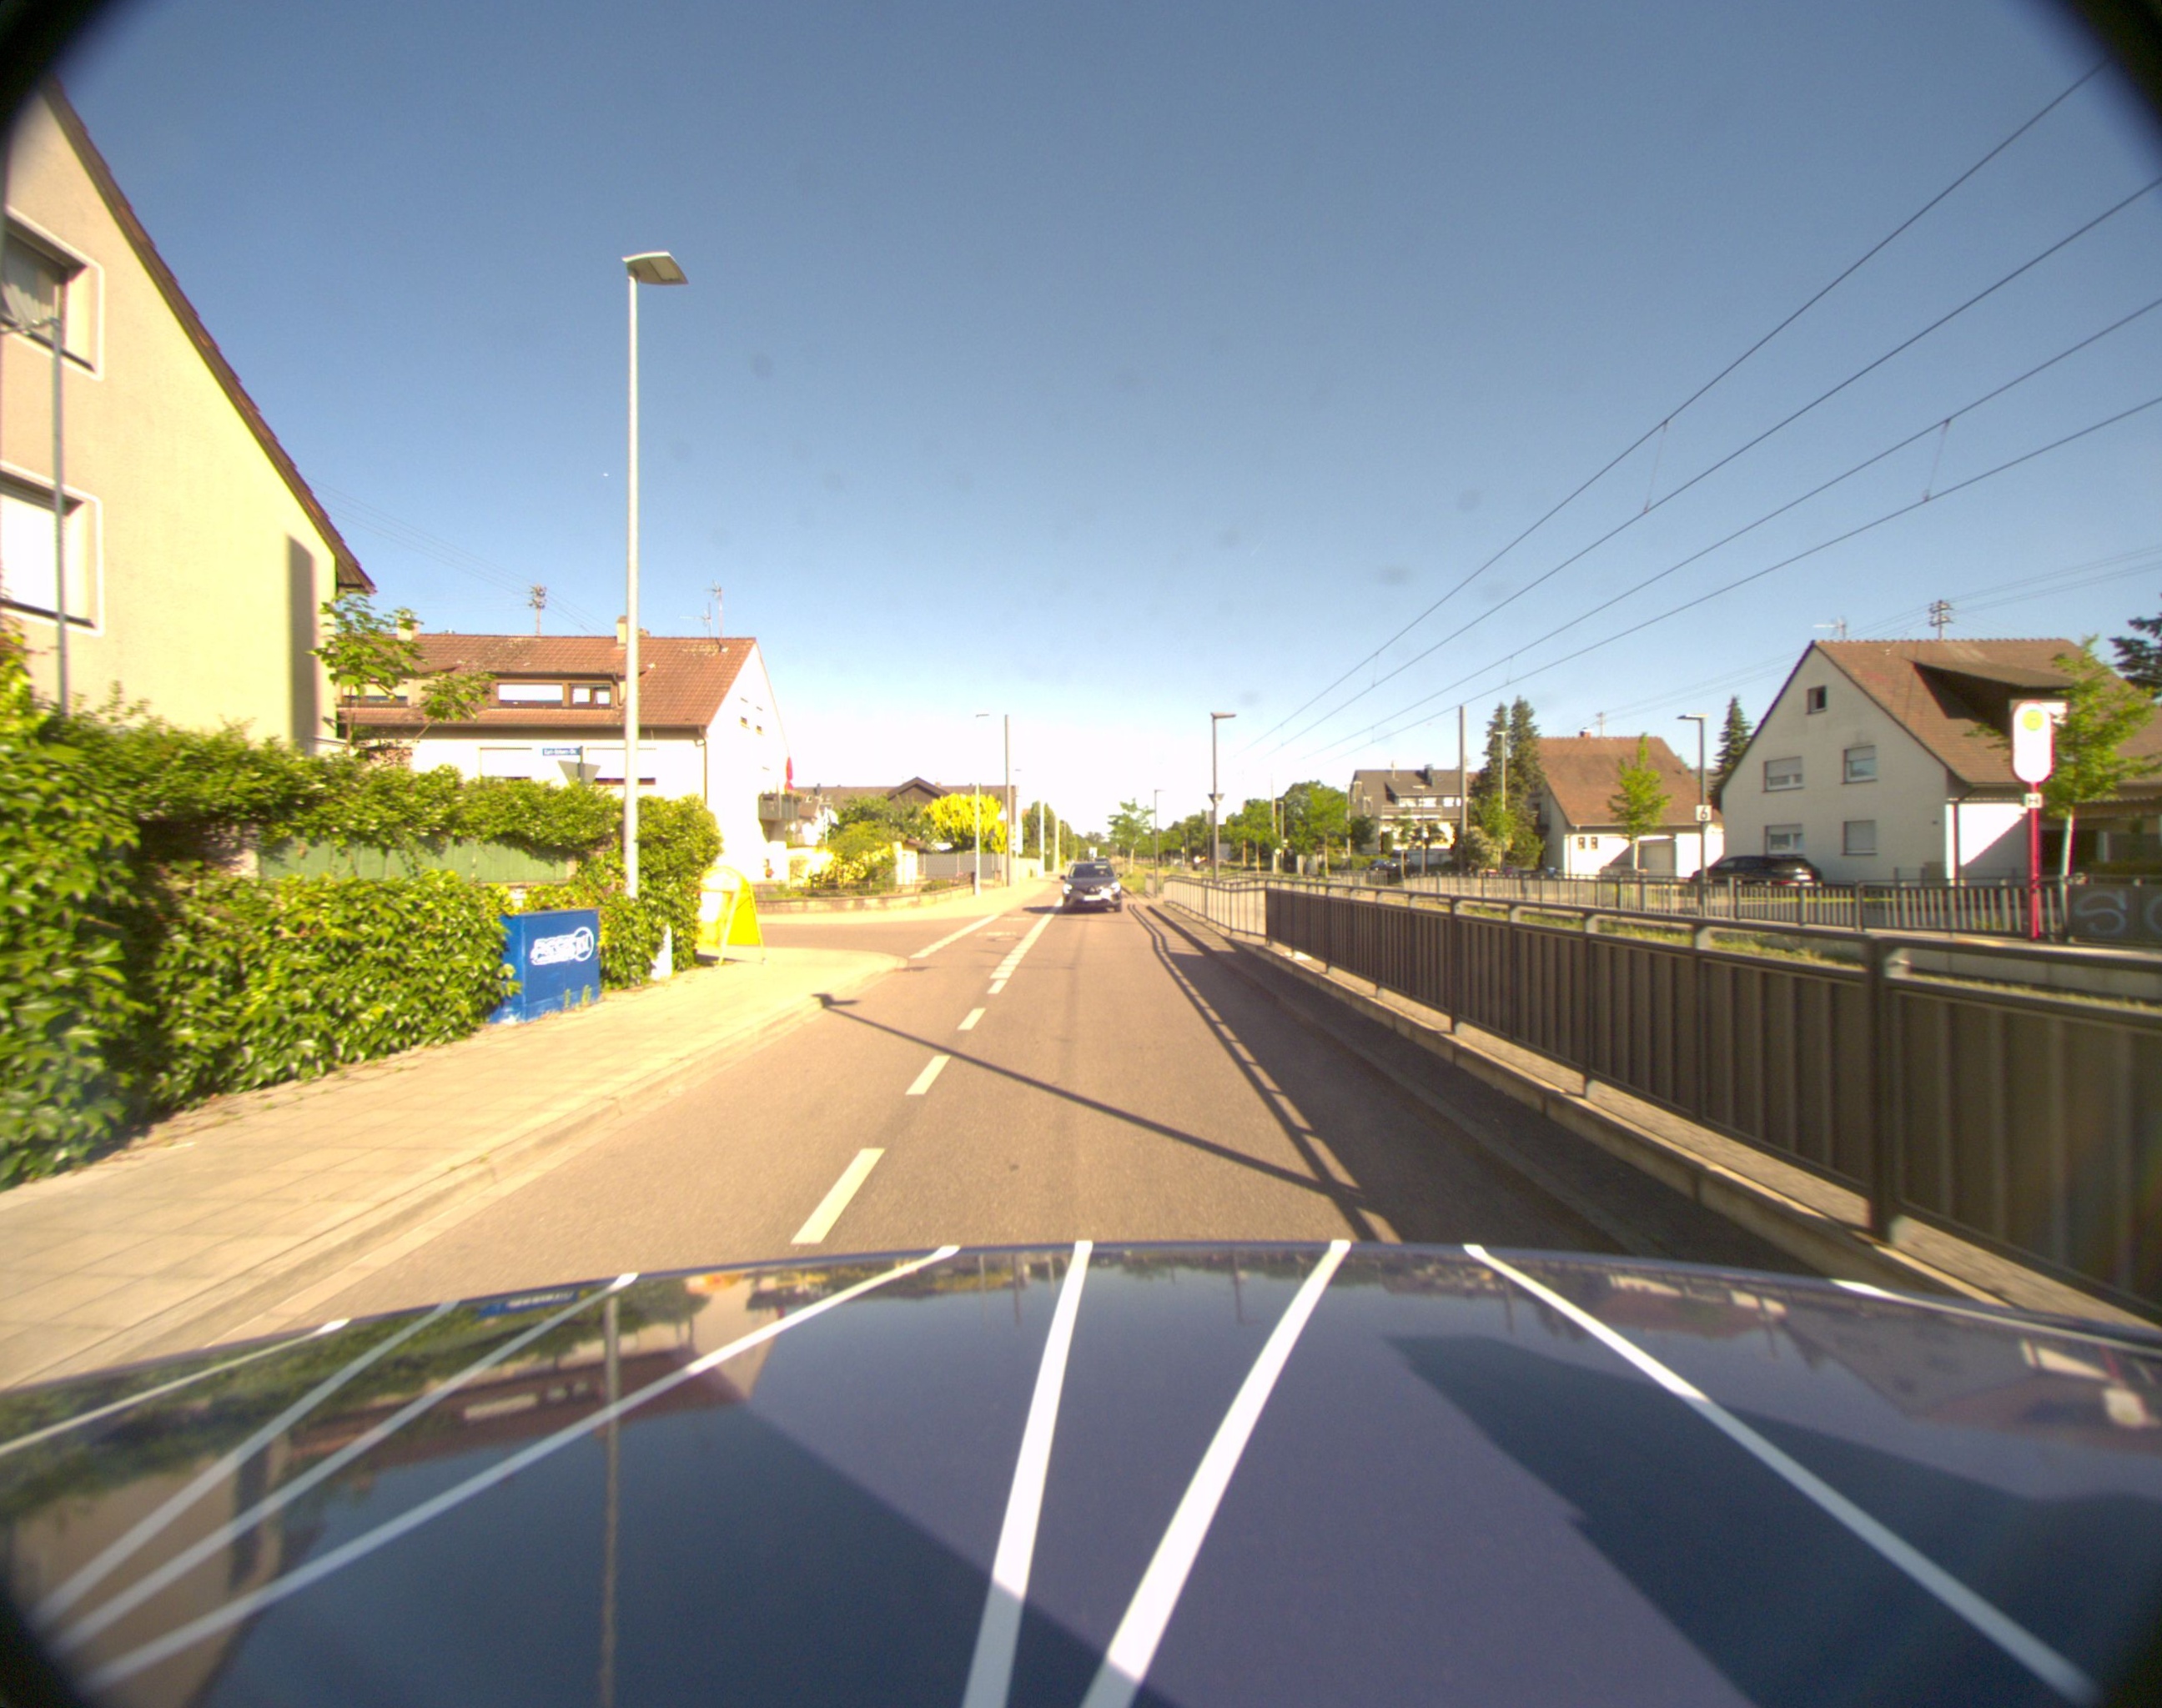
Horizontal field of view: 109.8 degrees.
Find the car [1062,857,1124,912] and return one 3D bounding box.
[{"bbox_3d":[0.339,0.950,25.357,1.867,1.614,4.000,-1,0,-1],"label":"car"}]

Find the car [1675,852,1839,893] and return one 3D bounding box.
[{"bbox_3d":[26.309,0.646,29.896,1.939,1.441,5.162,-1,0,1],"label":"car"}]

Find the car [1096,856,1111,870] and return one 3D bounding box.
[{"bbox_3d":[3.240,1.243,110.270,1.998,1.824,4.000,-2,1,2],"label":"car"}]

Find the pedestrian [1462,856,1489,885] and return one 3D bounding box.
[{"bbox_3d":[22.583,0.952,43.544,0.967,1.631,1.085,-1,1,1],"label":"pedestrian"}]

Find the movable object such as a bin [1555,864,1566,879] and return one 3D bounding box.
[{"bbox_3d":[28.574,1.029,45.286,0.371,0.892,0.452,-2,1,-3],"label":"movable object such as a bin"}]

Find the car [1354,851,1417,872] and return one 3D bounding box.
[{"bbox_3d":[25.630,0.623,64.037,4.556,1.724,2.051,0,0,-10],"label":"car"}]

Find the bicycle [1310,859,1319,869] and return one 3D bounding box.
[{"bbox_3d":[24.897,1.051,80.885,0.424,0.936,1.748,-2,1,1],"label":"bicycle"}]

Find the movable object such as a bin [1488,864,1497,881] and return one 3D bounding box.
[{"bbox_3d":[24.632,1.111,45.463,0.299,0.960,0.333,-2,1,-3],"label":"movable object such as a bin"}]

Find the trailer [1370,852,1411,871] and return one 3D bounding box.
[{"bbox_3d":[27.000,0.635,66.316,2.921,1.638,1.398,-1,1,-2],"label":"trailer"}]

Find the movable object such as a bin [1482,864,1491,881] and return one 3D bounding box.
[{"bbox_3d":[24.293,1.120,45.507,0.326,0.964,0.350,-2,1,-3],"label":"movable object such as a bin"}]

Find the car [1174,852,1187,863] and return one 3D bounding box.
[{"bbox_3d":[18.106,0.672,137.912,1.902,1.903,4.702,-1,0,2],"label":"car"}]
